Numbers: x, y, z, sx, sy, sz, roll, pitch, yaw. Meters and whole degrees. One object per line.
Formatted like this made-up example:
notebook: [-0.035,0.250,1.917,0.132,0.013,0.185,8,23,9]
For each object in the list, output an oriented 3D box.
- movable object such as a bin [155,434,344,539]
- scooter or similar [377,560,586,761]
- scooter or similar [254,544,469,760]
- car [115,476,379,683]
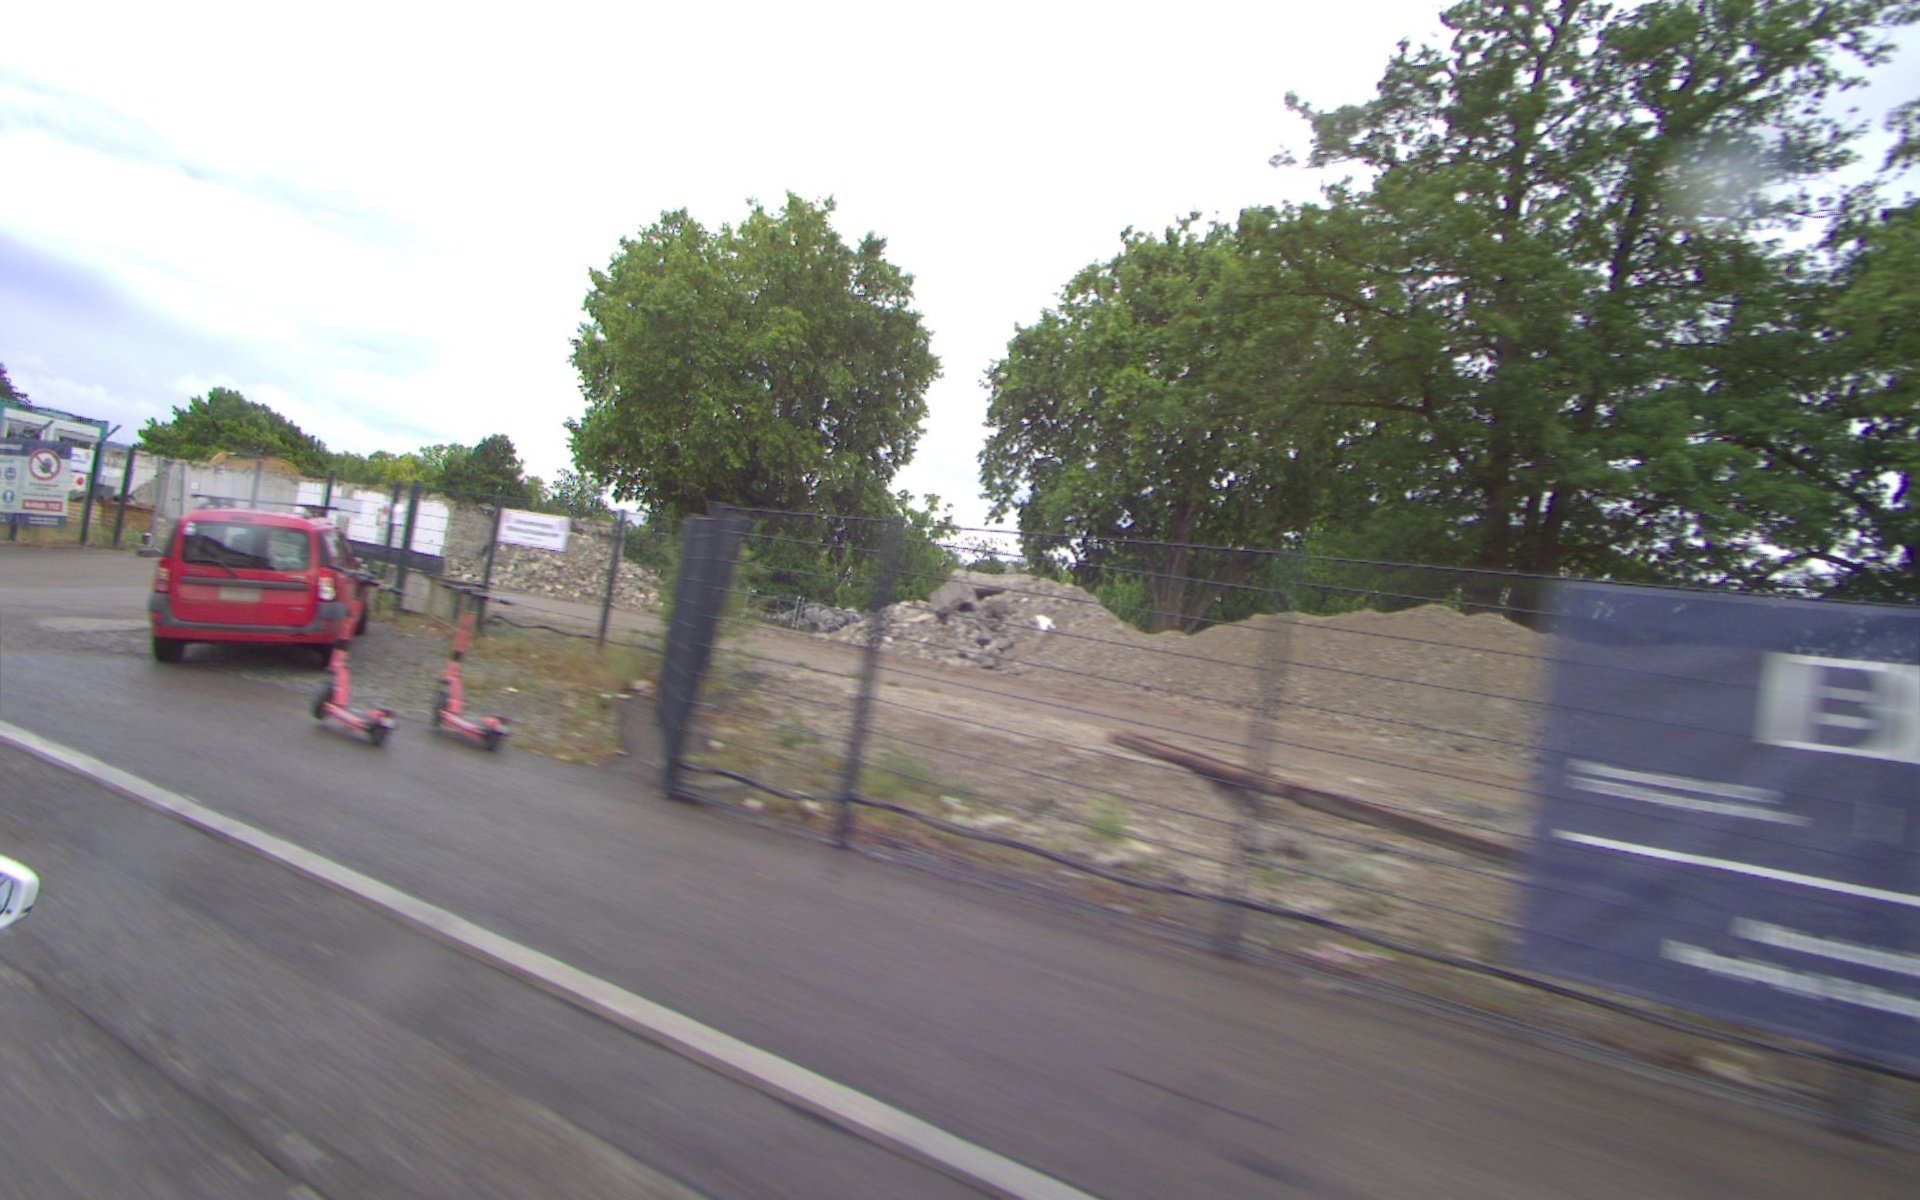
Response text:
movable object such as a bin: [-55.853,-8.770,79.486,3.440,6.066,11.230,7,-1,38]
scooter or similar: [-3.966,0.458,8.274,1.883,1.367,0.615,7,-1,37]
scooter or similar: [-4.612,0.358,7.696,1.883,1.367,0.615,7,-1,37]
car: [-8.184,-0.241,11.989,1.805,1.814,4.378,8,-2,-28]
